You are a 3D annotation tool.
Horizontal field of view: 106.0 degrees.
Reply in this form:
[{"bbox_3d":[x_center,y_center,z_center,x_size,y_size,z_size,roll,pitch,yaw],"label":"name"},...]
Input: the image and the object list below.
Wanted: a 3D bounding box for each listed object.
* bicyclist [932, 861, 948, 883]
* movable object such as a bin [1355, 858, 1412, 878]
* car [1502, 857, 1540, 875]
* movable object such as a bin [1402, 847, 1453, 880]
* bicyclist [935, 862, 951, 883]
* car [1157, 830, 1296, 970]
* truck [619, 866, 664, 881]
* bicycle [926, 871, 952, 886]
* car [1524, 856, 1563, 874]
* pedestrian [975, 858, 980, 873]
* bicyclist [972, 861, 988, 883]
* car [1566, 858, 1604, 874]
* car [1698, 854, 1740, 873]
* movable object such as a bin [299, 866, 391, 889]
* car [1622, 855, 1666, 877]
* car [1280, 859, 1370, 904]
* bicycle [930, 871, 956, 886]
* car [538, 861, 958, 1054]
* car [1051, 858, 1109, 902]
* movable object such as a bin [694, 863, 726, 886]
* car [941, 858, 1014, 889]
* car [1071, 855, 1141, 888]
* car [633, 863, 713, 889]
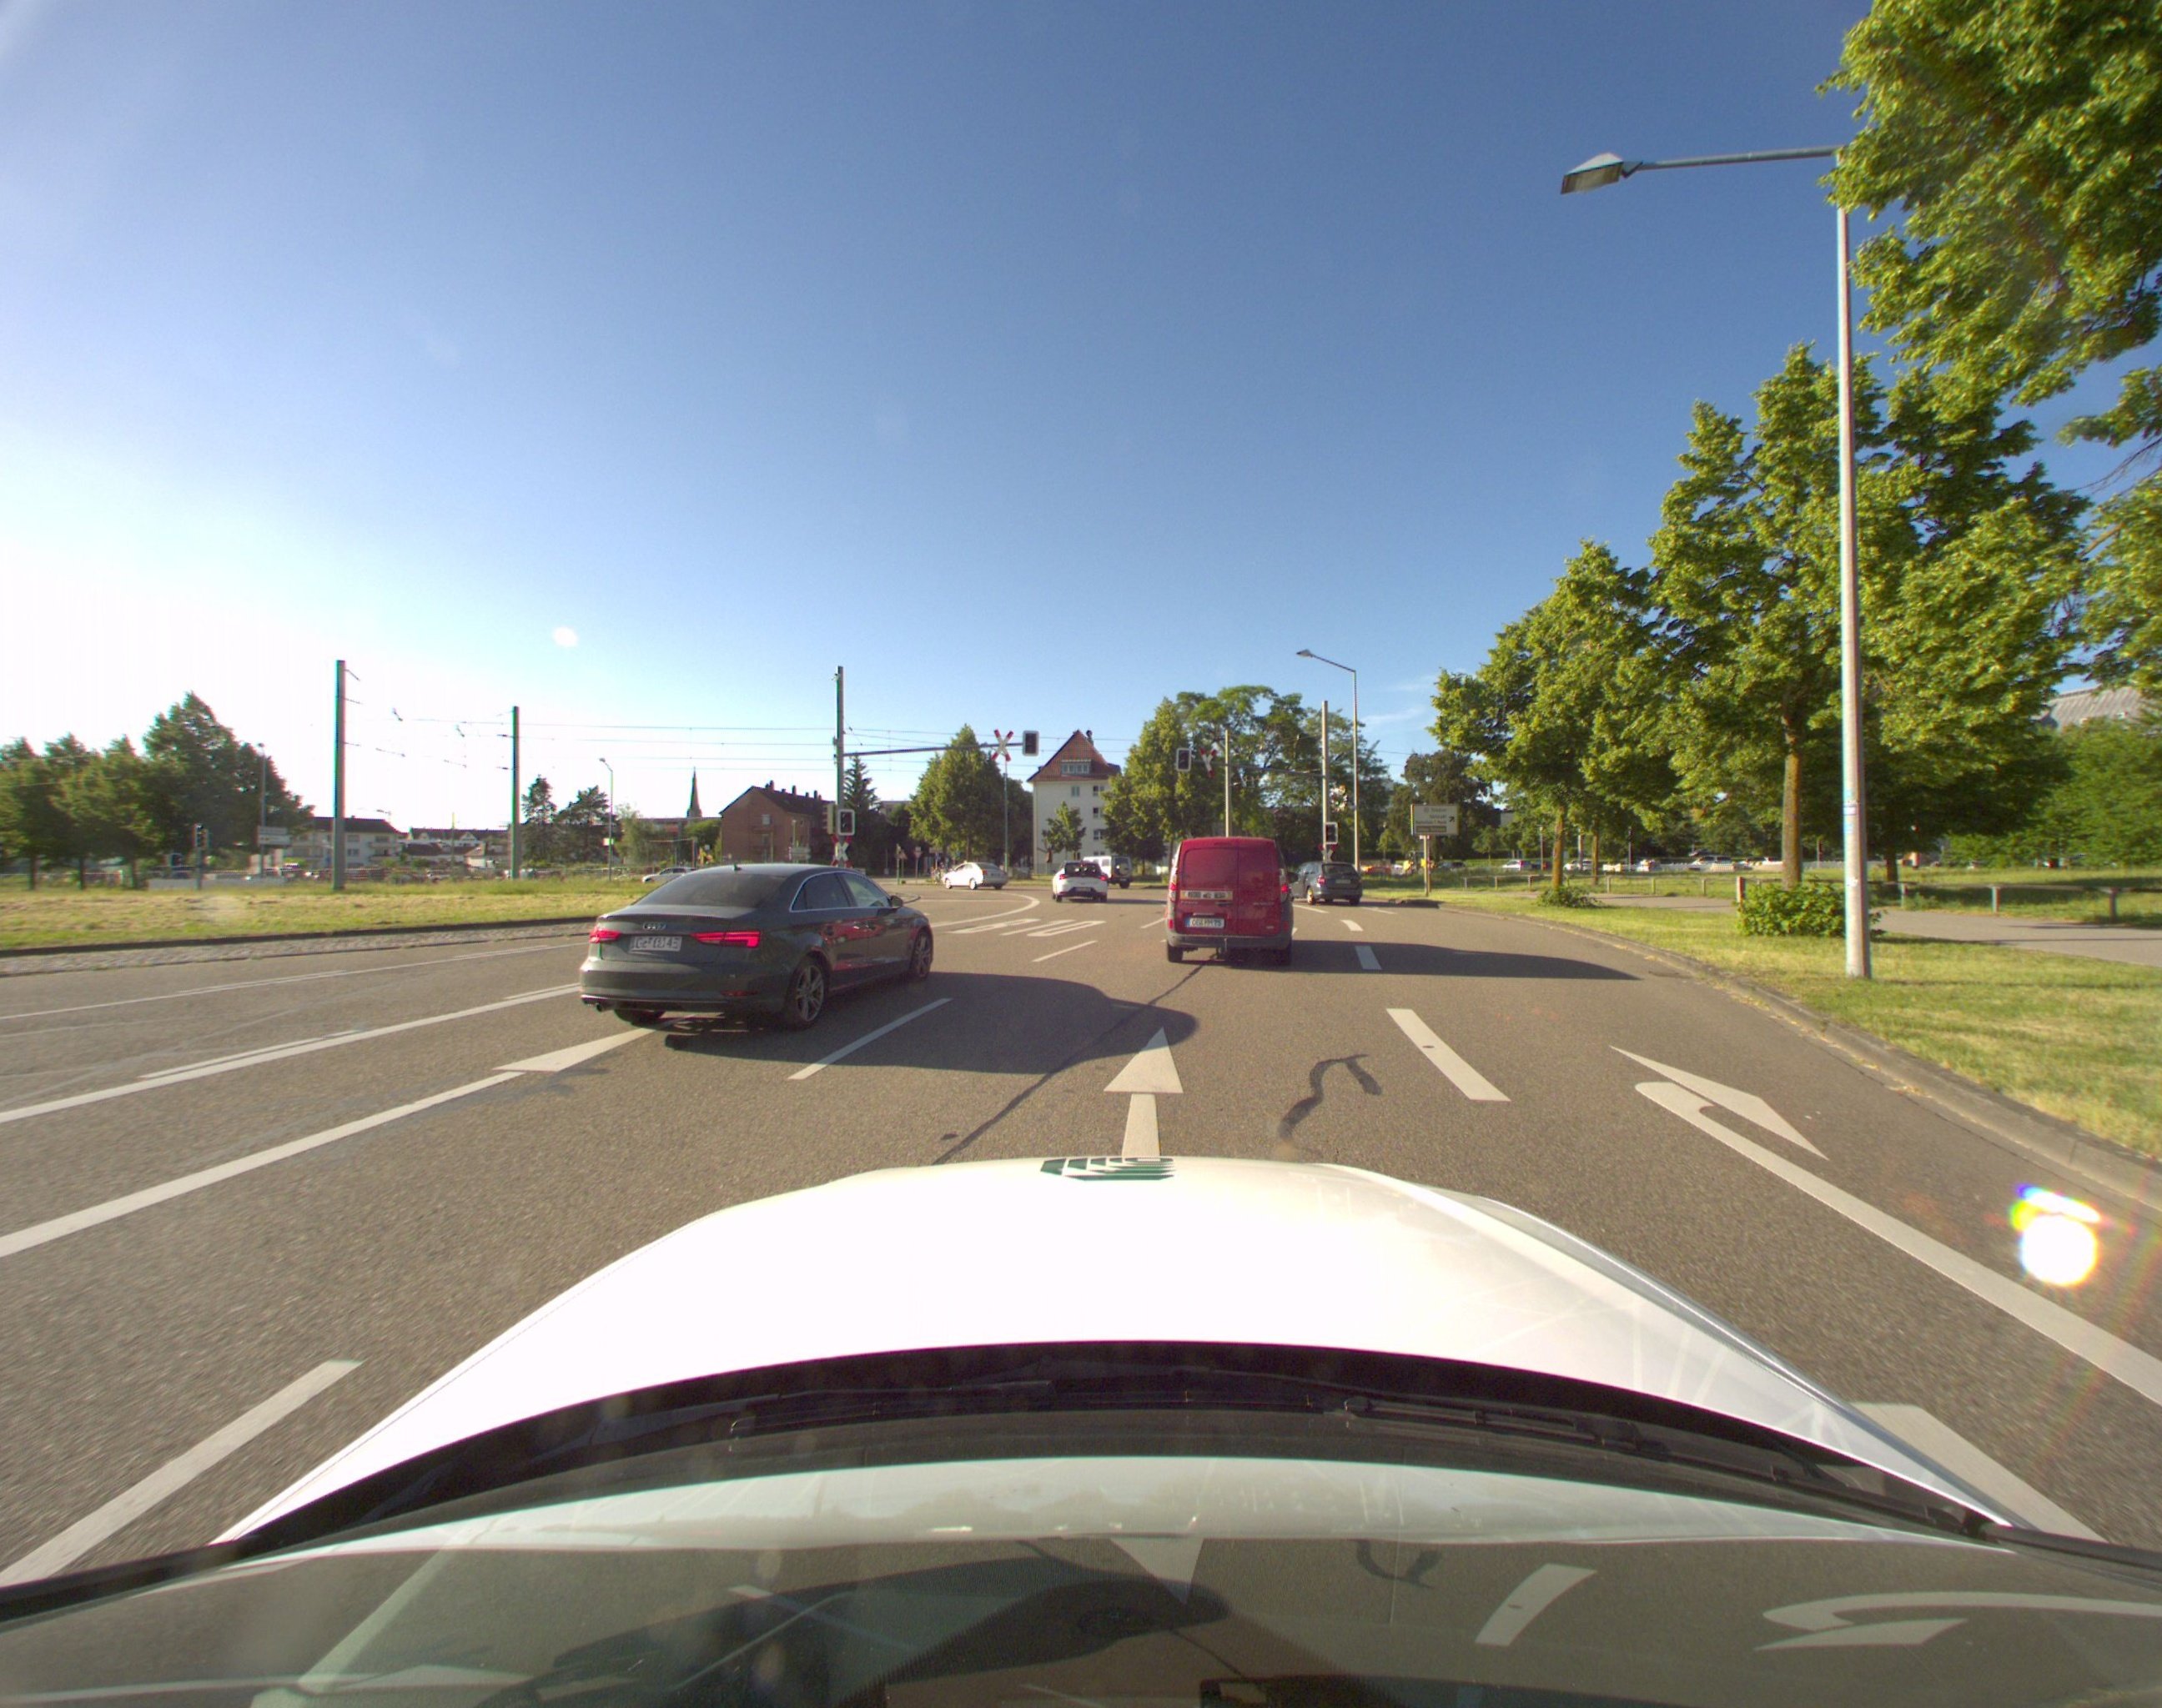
[{"bbox_3d":[-12.116,1.568,70.164,1.013,1.853,0.890,-1,-3,33],"label":"bicyclist"},{"bbox_3d":[30.807,1.451,83.151,4.996,1.948,2.236,1,-3,-5],"label":"movable object such as a bin"},{"bbox_3d":[46.041,1.248,85.320,1.985,1.723,4.003,0,-3,3],"label":"car"},{"bbox_3d":[31.194,0.876,73.449,1.992,2.789,5.034,1,-3,-7],"label":"movable object such as a bin"},{"bbox_3d":[-12.097,1.627,71.509,1.013,1.853,0.890,-1,-3,33],"label":"bicyclist"},{"bbox_3d":[2.330,0.587,12.658,1.790,1.813,3.822,1,0,12],"label":"car"},{"bbox_3d":[-60.947,2.735,112.924,6.355,2.014,2.184,-1,-3,26],"label":"truck"},{"bbox_3d":[-12.250,2.097,70.208,2.181,1.266,0.890,-1,-3,31],"label":"bicycle"},{"bbox_3d":[48.168,1.207,84.861,1.985,1.769,4.003,0,-3,3],"label":"car"},{"bbox_3d":[-14.215,1.544,111.742,0.467,2.014,0.456,-1,-1,13],"label":"pedestrian"},{"bbox_3d":[-8.608,1.567,69.453,1.014,1.853,0.816,-1,-3,20],"label":"bicyclist"},{"bbox_3d":[52.204,1.270,84.428,1.818,1.556,3.811,0,-3,5],"label":"car"},{"bbox_3d":[65.591,0.975,83.807,1.680,1.780,3.854,0,-3,7],"label":"car"},{"bbox_3d":[-92.079,2.919,102.113,2.907,2.783,7.979,-1,-1,26],"label":"movable object such as a bin"},{"bbox_3d":[57.983,1.290,83.953,1.985,2.100,4.003,0,-3,3],"label":"car"},{"bbox_3d":[8.269,0.893,27.967,1.709,1.436,4.148,0,-1,-2],"label":"car"},{"bbox_3d":[-12.148,2.155,71.515,2.181,1.266,0.890,-1,-3,31],"label":"bicycle"},{"bbox_3d":[-2.890,0.778,8.297,1.748,1.380,4.374,0,0,13],"label":"car"},{"bbox_3d":[-0.093,0.921,29.074,1.799,1.461,3.803,1,-2,-4],"label":"car"},{"bbox_3d":[-45.809,2.510,100.501,2.439,2.774,3.952,3,-3,-41],"label":"movable object such as a bin"},{"bbox_3d":[-5.675,1.037,44.293,2.010,1.575,4.357,0,-1,-39],"label":"car"},{"bbox_3d":[1.430,1.054,48.653,2.010,1.897,4.705,1,-2,-31],"label":"car"},{"bbox_3d":[-27.350,1.463,54.650,4.372,1.639,2.003,0,-1,5],"label":"car"}]
